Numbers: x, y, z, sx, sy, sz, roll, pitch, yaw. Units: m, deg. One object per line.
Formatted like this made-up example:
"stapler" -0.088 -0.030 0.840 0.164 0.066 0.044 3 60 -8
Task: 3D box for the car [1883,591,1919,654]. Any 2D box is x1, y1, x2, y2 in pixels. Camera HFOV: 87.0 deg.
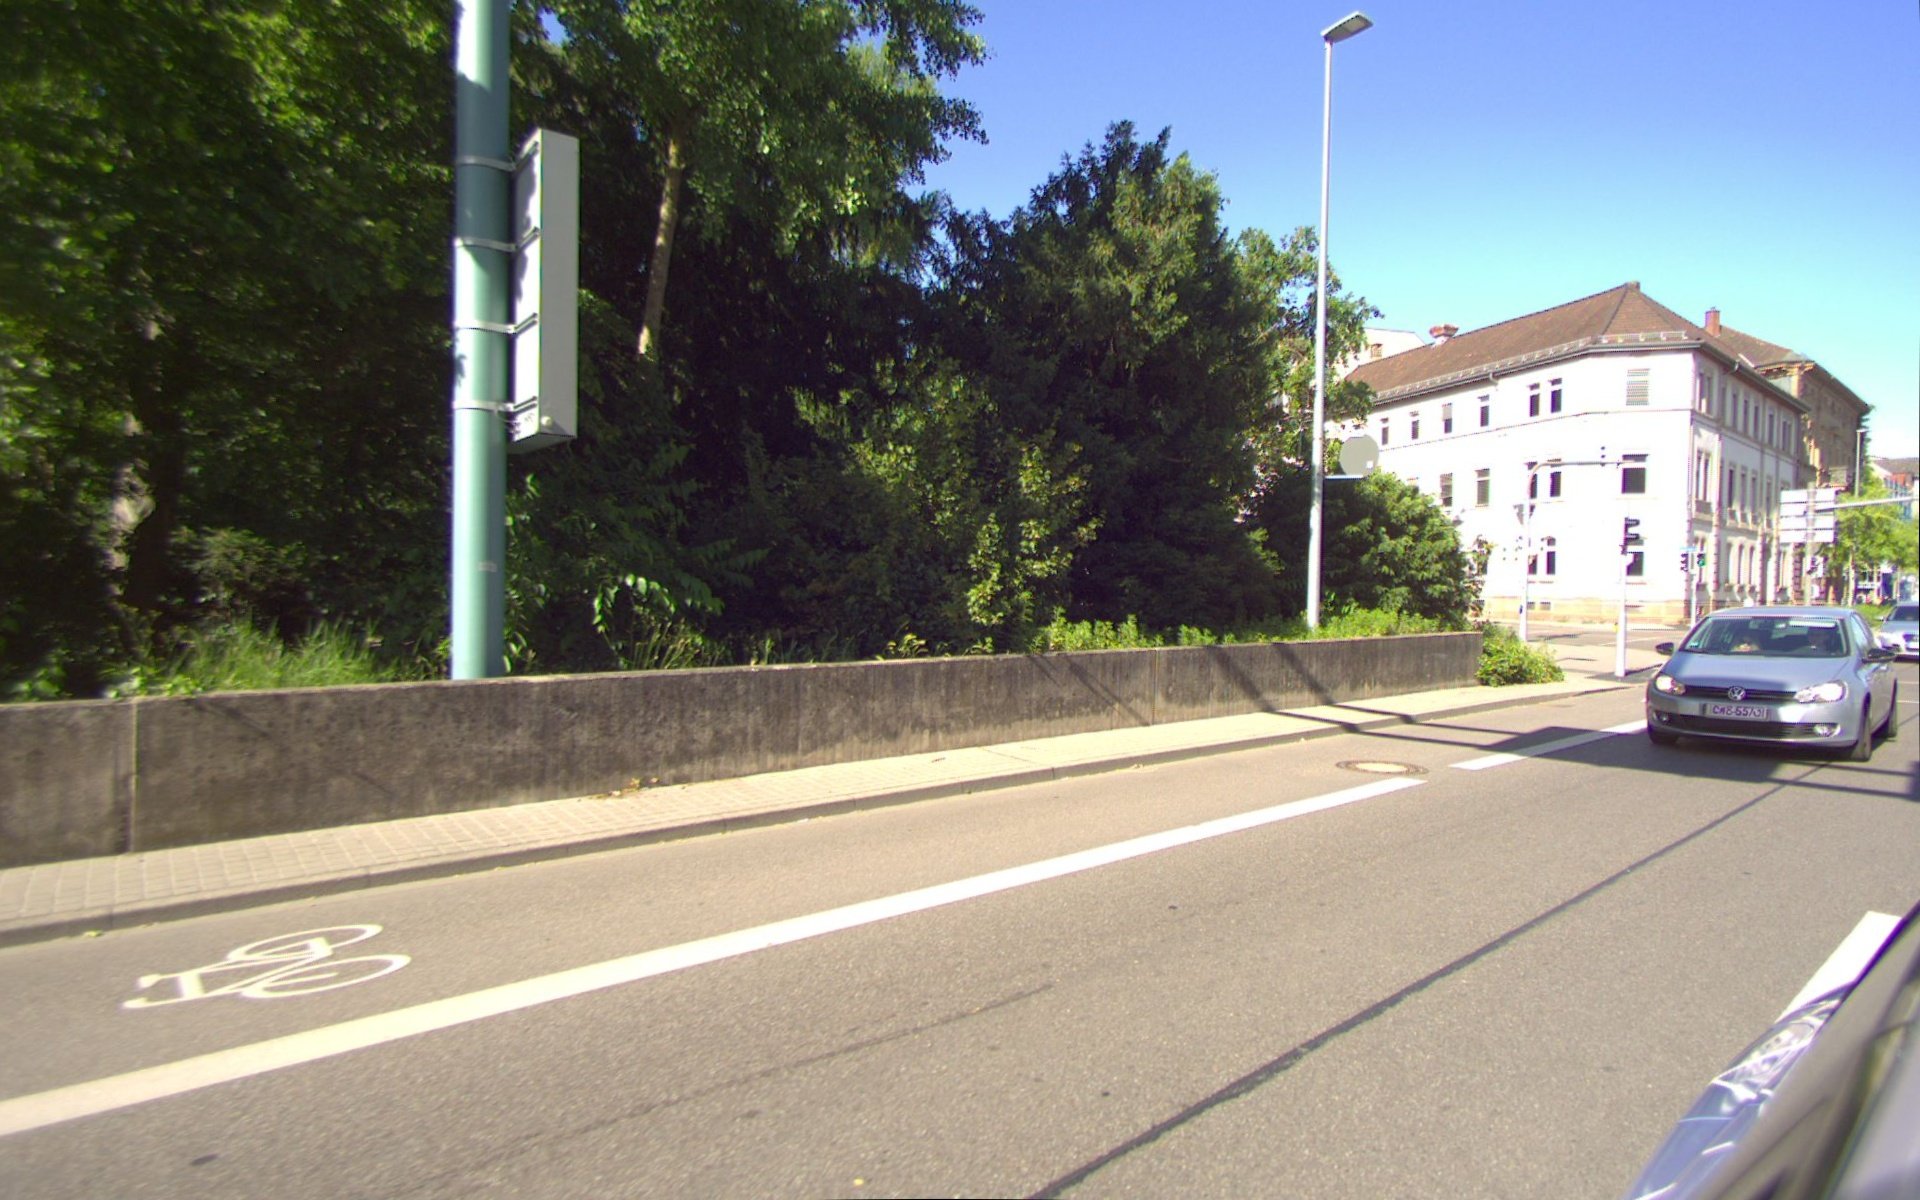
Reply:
"car" 23.581 0.509 24.176 3.930 1.442 1.837 -1 1 -41

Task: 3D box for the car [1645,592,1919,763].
"car" 8.987 0.675 10.931 3.930 1.493 1.701 -1 1 -41
